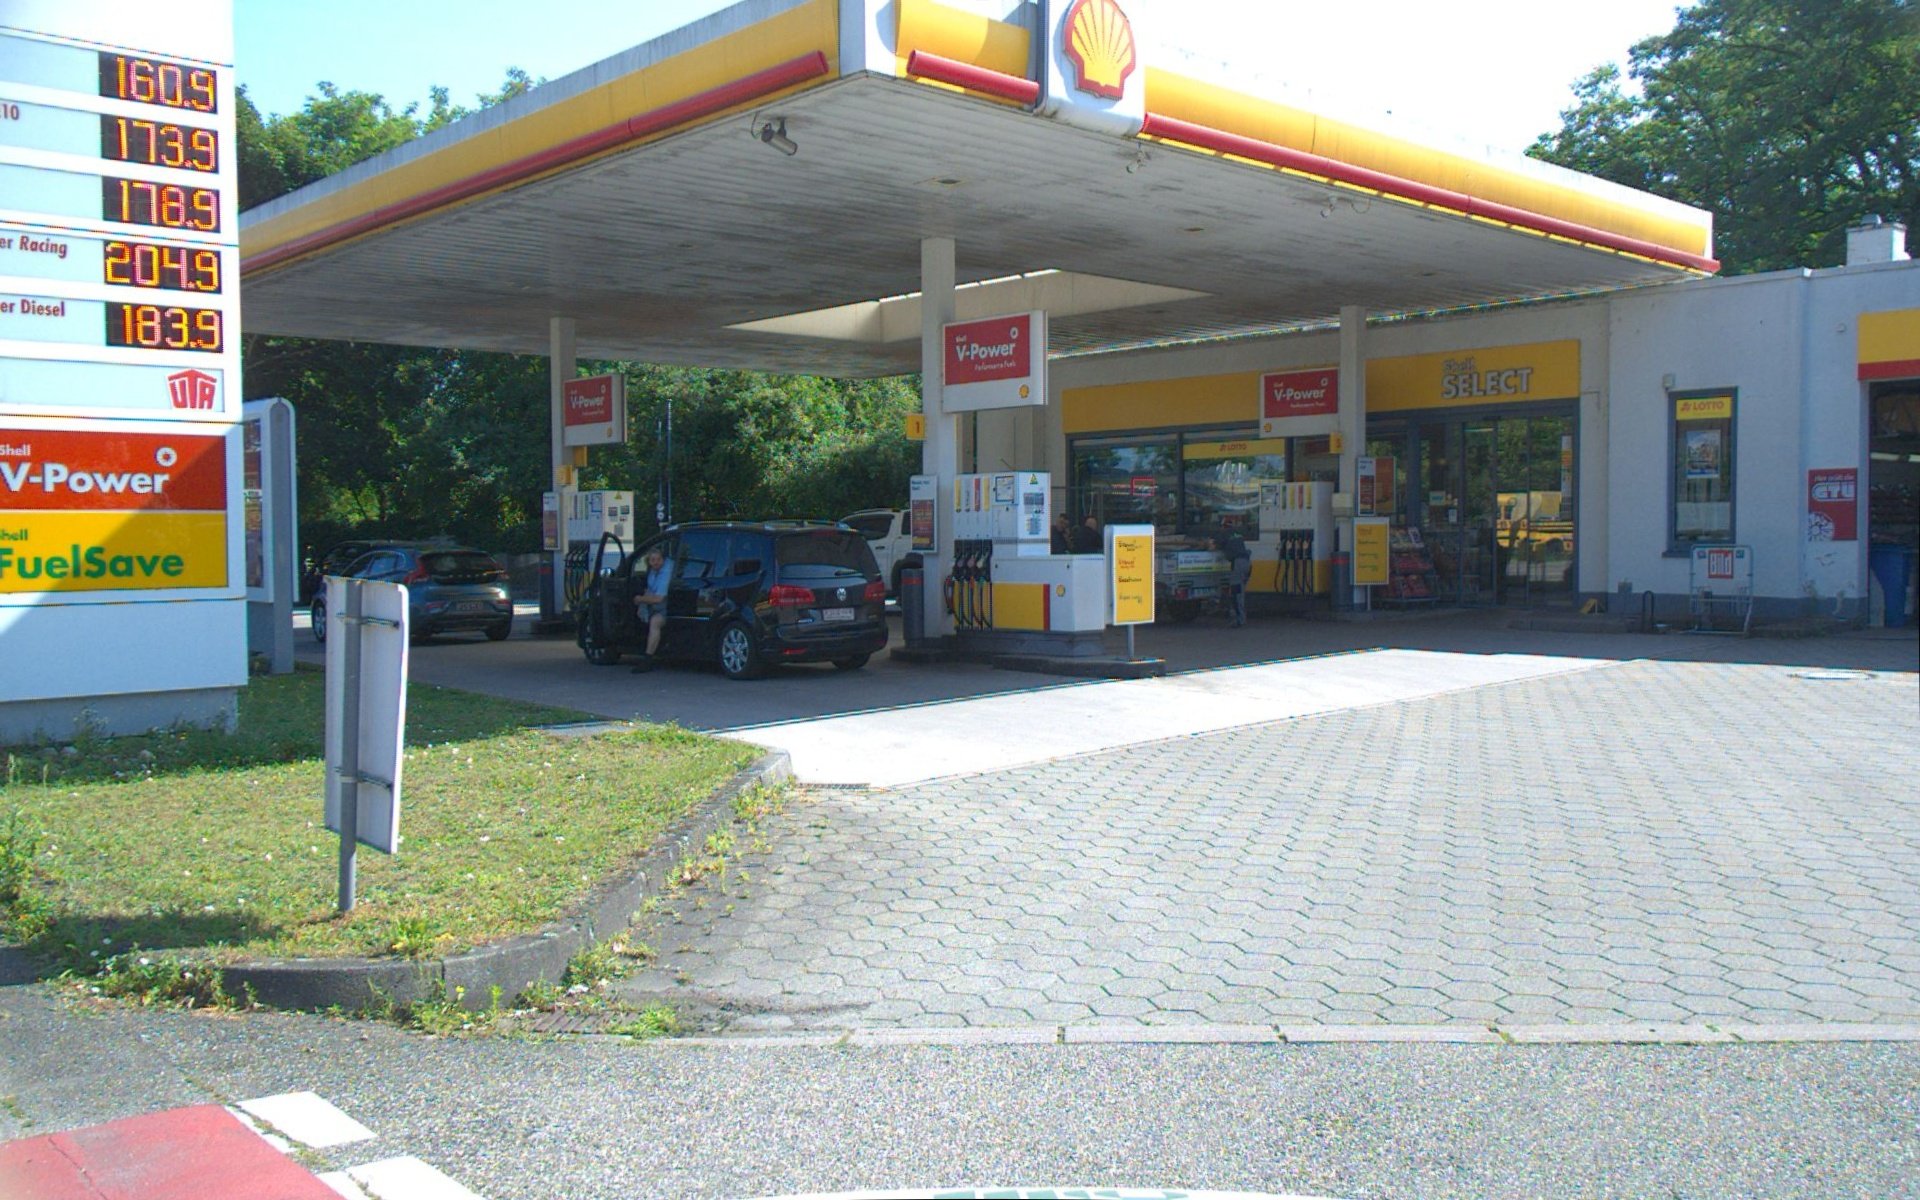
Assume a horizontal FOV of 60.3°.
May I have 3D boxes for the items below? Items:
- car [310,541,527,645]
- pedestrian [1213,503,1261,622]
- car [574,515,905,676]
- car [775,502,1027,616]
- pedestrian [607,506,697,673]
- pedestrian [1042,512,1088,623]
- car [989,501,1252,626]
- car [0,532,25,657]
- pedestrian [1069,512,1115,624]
[{"bbox_3d":[-8.048,-0.152,24.406,1.787,1.384,3.793,-2,3,-39],"label":"car"},{"bbox_3d":[4.008,-0.544,23.909,0.471,1.697,0.493,-2,2,-41],"label":"pedestrian"},{"bbox_3d":[-2.535,-0.116,18.474,1.752,1.605,3.815,-3,3,-44],"label":"car"},{"bbox_3d":[-1.126,-0.757,29.444,1.843,1.869,4.704,-3,3,-44],"label":"car"},{"bbox_3d":[-3.349,-0.132,17.970,0.667,1.759,0.802,-2,2,-36],"label":"pedestrian"},{"bbox_3d":[1.593,-0.496,25.081,0.496,1.659,0.469,-2,2,-39],"label":"pedestrian"},{"bbox_3d":[2.398,-0.572,25.466,1.816,1.758,3.945,-2,2,-39],"label":"car"},{"bbox_3d":[-13.304,-0.055,20.366,2.666,1.557,1.578,-1,0,1],"label":"car"},{"bbox_3d":[1.945,-0.479,24.364,0.496,1.621,0.469,-2,2,-39],"label":"pedestrian"}]
